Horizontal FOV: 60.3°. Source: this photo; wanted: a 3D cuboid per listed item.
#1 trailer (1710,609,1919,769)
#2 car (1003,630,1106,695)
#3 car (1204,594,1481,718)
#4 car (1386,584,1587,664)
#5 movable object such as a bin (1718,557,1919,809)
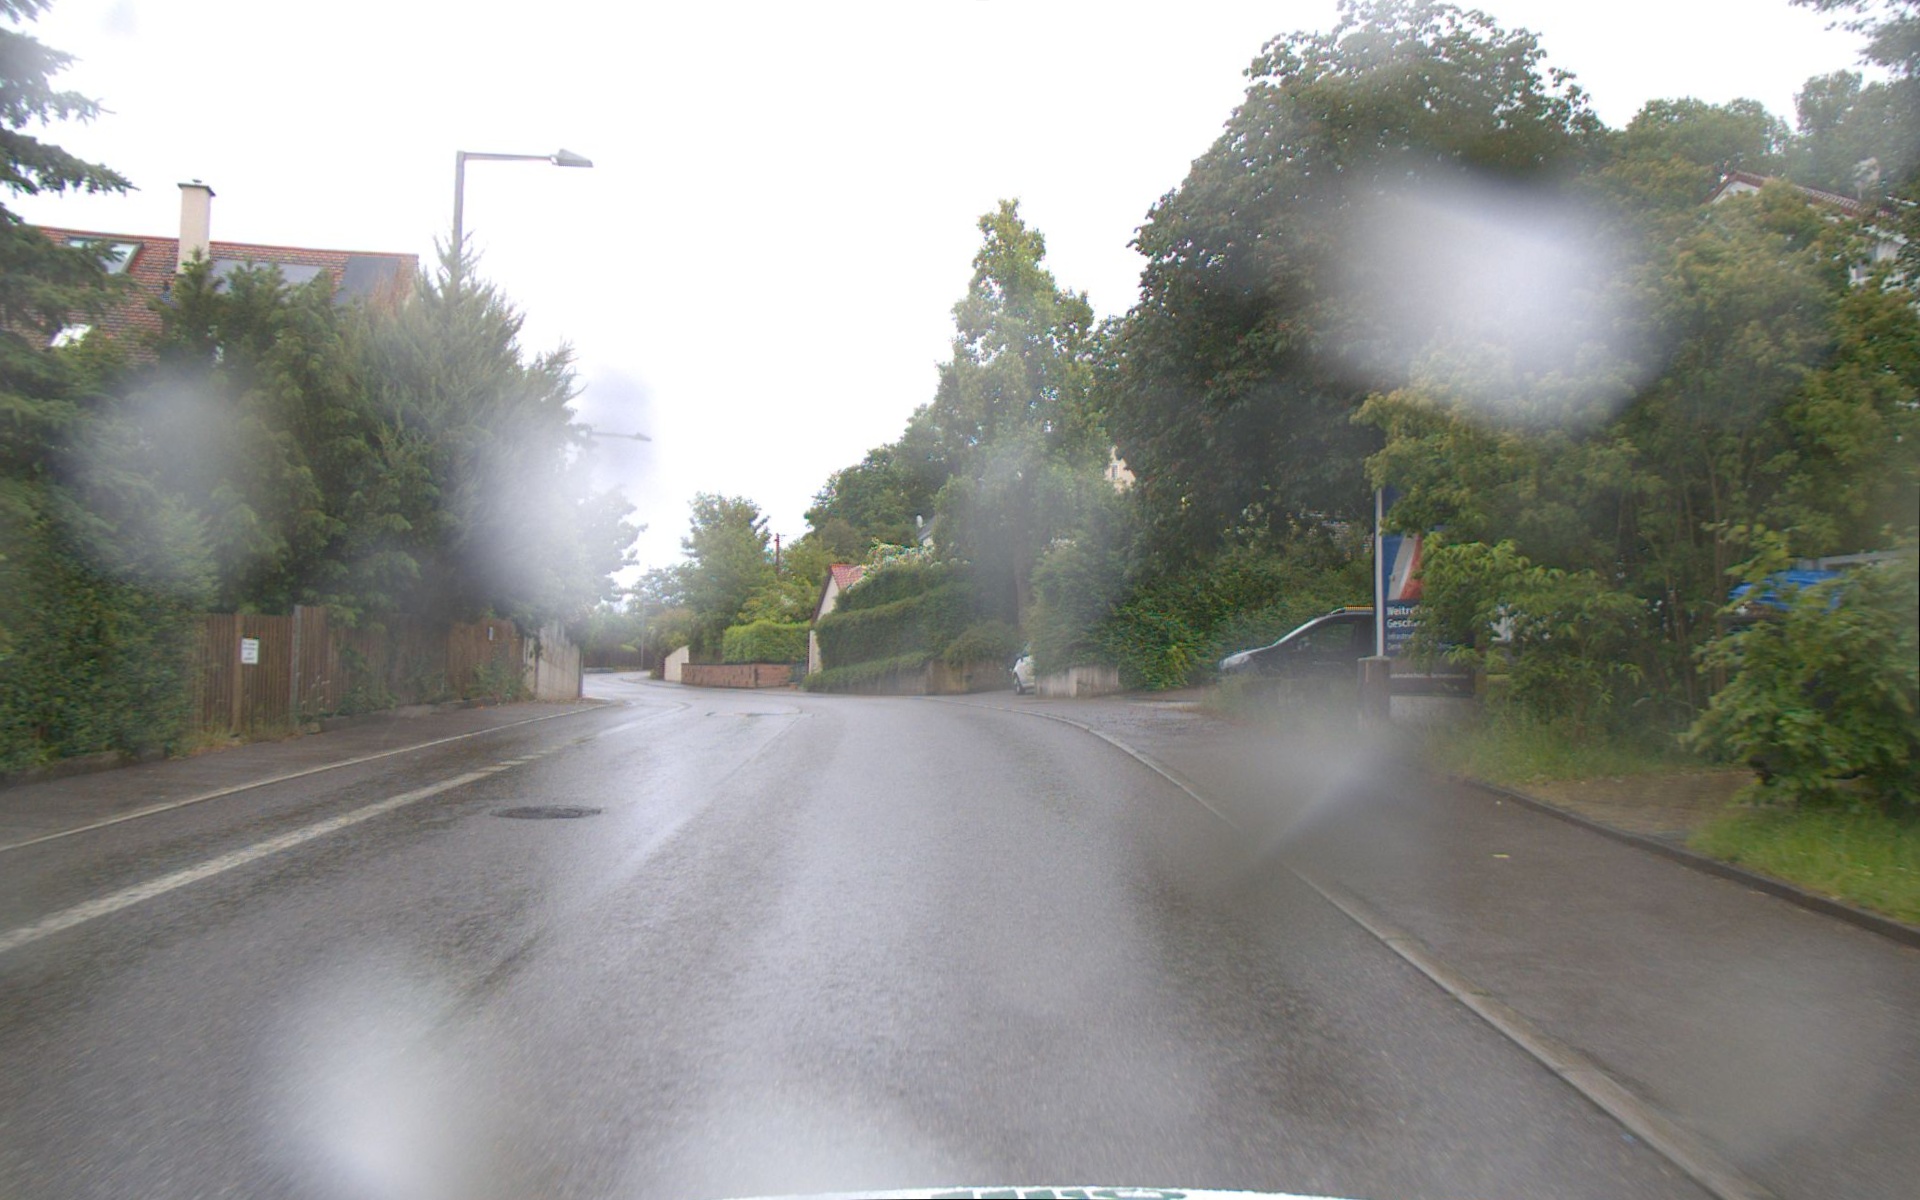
[{"bbox_3d":[11.402,1.075,20.756,1.738,1.855,3.253,3,-2,-27],"label":"trailer"},{"bbox_3d":[2.485,1.678,44.550,1.507,1.562,3.827,-4,-1,-16],"label":"car"},{"bbox_3d":[6.218,0.929,27.167,4.239,1.746,1.730,3,-3,11],"label":"car"},{"bbox_3d":[11.817,0.533,37.107,4.210,1.662,1.715,0,-3,-25],"label":"car"},{"bbox_3d":[5.732,0.512,10.768,1.230,1.524,0.971,1,-1,-35],"label":"movable object such as a bin"}]
